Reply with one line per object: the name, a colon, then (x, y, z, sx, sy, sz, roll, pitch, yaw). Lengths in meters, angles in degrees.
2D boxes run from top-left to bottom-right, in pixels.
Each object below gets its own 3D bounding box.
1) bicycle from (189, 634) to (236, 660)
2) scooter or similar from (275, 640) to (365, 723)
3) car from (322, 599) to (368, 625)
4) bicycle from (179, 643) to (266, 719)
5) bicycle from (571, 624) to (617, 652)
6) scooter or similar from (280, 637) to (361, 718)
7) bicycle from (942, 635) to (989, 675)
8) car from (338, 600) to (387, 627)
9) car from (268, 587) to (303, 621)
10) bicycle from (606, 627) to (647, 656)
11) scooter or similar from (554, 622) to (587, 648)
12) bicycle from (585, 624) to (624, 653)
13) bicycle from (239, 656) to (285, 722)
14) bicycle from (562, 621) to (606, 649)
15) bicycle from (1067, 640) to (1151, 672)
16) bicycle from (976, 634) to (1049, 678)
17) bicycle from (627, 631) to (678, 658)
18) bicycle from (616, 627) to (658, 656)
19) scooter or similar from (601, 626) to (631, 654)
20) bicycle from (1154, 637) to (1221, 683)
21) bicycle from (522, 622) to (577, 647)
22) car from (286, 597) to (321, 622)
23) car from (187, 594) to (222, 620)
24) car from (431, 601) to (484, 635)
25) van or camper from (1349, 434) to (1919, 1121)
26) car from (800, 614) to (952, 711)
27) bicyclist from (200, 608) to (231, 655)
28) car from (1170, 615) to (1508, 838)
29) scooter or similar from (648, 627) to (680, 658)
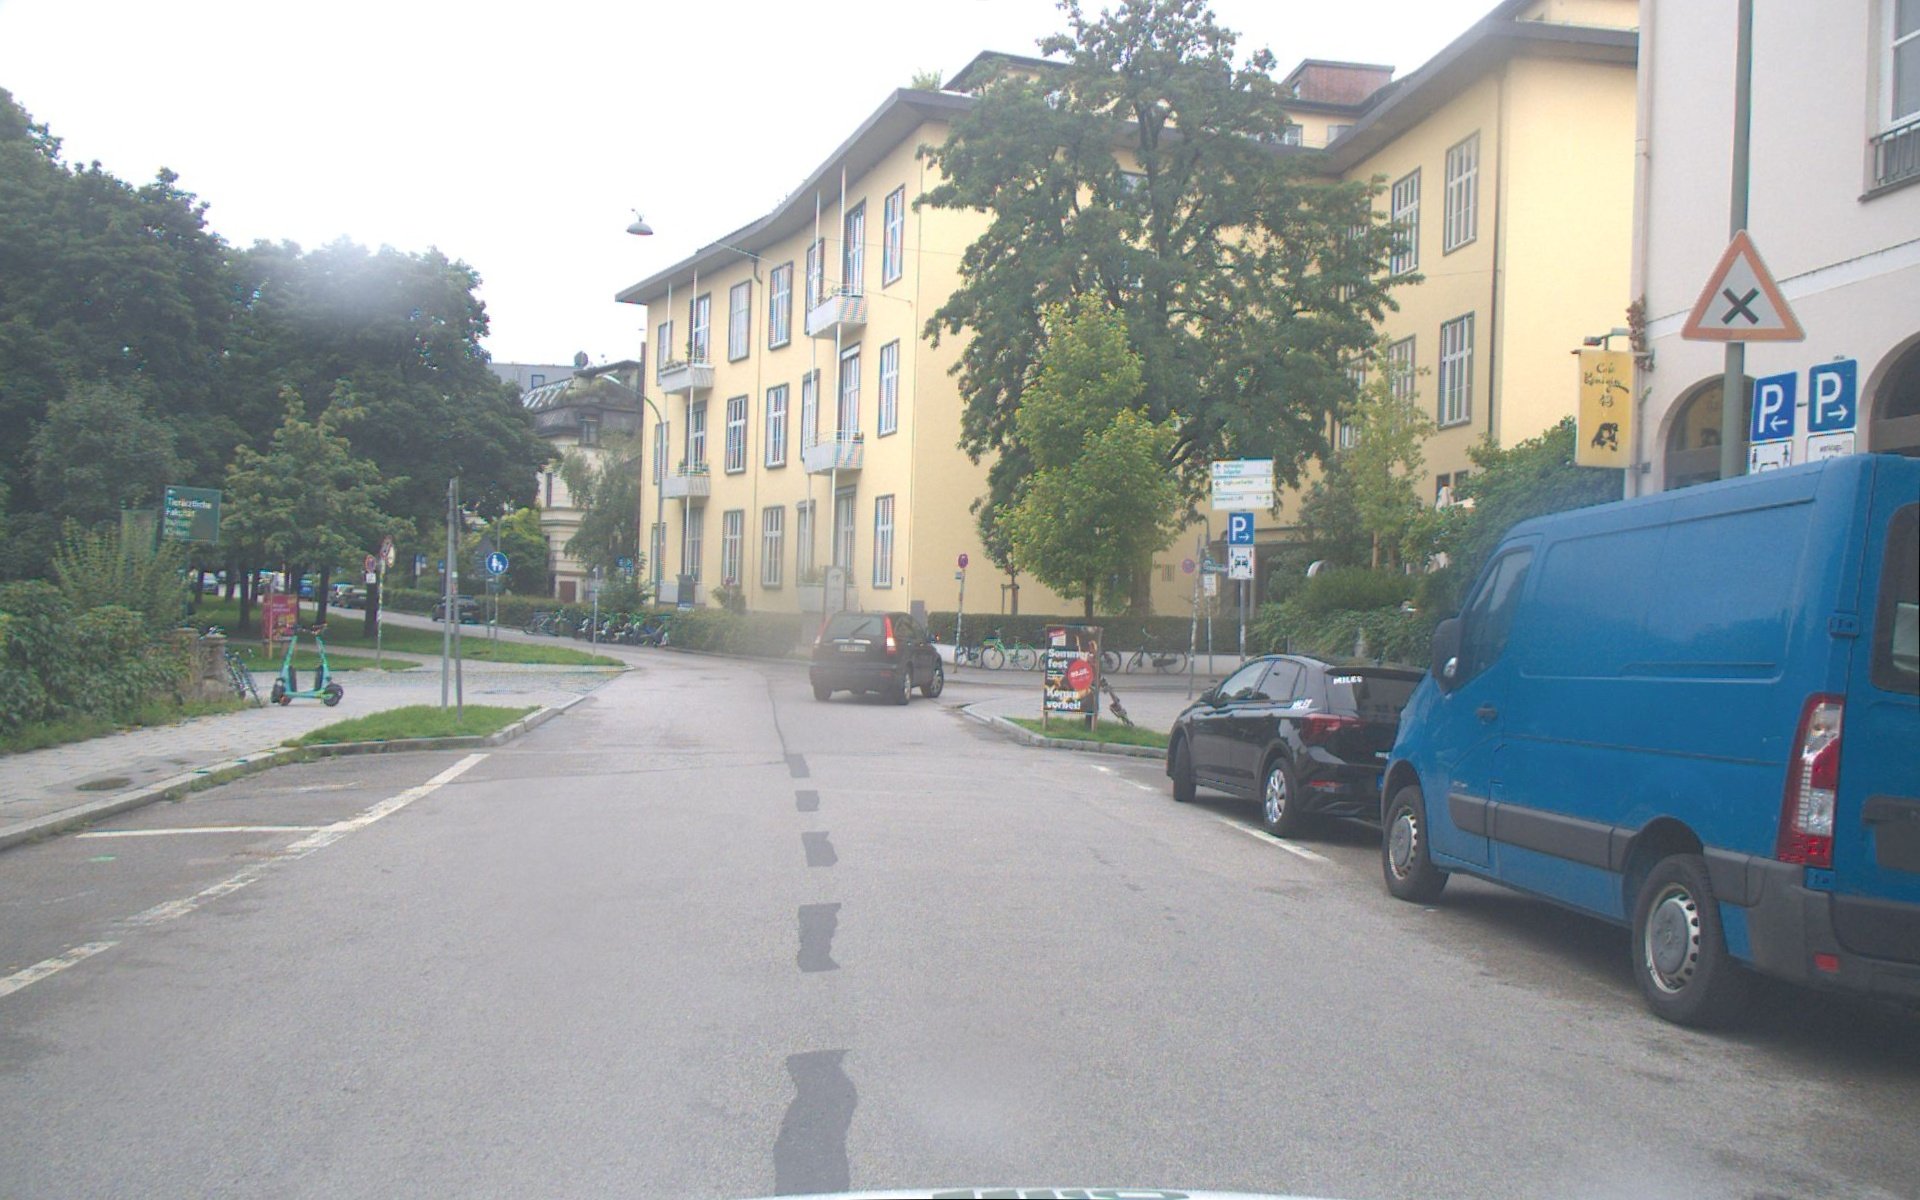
bicycle: (-24.224, 1.515, 53.600, 1.328, 0.790, 0.440, 1, -1, 5)
scooter or similar: (-9.923, 1.253, 25.666, 1.154, 1.241, 0.602, -1, -1, -3)
car: (-42.399, 0.847, 113.894, 2.154, 1.686, 4.458, 2, -1, -31)
bicycle: (-11.812, 1.279, 26.467, 1.473, 1.154, 0.651, 1, -1, 39)
bicycle: (-14.788, 1.528, 66.929, 0.681, 1.104, 2.339, 0, 0, 19)
scooter or similar: (-10.210, 1.227, 26.423, 0.437, 1.241, 1.179, -2, -1, 31)
bicycle: (0.143, 1.582, 48.103, 0.600, 1.091, 2.202, 1, 0, -22)
car: (-39.304, 0.864, 108.792, 2.154, 1.686, 4.458, 2, -1, -31)
car: (-54.746, 0.316, 134.170, 1.856, 2.613, 4.880, 2, -1, -31)
bicycle: (-13.221, 1.627, 65.624, 0.564, 1.104, 1.931, 0, 0, 26)
scooter or similar: (-17.105, 1.530, 72.581, 1.381, 1.107, 0.595, 1, 0, -13)
bicycle: (-14.228, 1.531, 66.245, 0.624, 1.104, 1.986, 0, 0, 19)
bicycle: (-10.604, 1.336, 25.108, 0.465, 0.939, 1.192, 2, -1, -30)
bicycle: (-15.602, 1.446, 68.638, 0.746, 1.104, 2.142, 0, 0, 19)
bicycle: (4.025, 1.518, 44.686, 2.163, 0.793, 0.610, 1, -1, 15)
bicycle: (1.451, 1.538, 45.968, 2.179, 1.136, 0.606, 1, -1, 43)
bicycle: (-11.710, 1.680, 62.980, 1.806, 1.023, 0.571, 1, 0, -34)
bicycle: (-12.692, 1.615, 65.104, 0.564, 1.104, 1.931, 0, 0, 26)
scooter or similar: (-13.707, 1.593, 65.943, 0.485, 1.107, 1.409, 0, 0, 22)
bicycle: (6.140, 1.620, 44.749, 1.699, 1.170, 0.610, 1, -1, -2)
bicycle: (-18.400, 1.525, 74.156, 2.313, 1.104, 0.684, 1, 0, -36)
car: (-50.101, 0.720, 126.171, 1.856, 1.847, 3.958, 2, -1, -31)
car: (-56.159, 0.501, 122.950, 1.973, 1.870, 3.959, 2, -1, -30)
car: (-26.482, 0.937, 87.077, 1.842, 1.662, 4.243, 2, -1, -28)
van or camper: (3.859, 0.708, 8.287, 2.020, 2.269, 5.433, 5, -1, -4)
car: (-1.518, 1.146, 31.787, 1.952, 1.724, 4.383, 0, -1, 10)
bicyclist: (-24.172, 1.025, 53.691, 0.614, 1.486, 0.646, 1, -1, 6)
car: (3.134, 0.983, 14.504, 1.671, 1.544, 3.954, 5, -1, -5)
scooter or similar: (-11.036, 1.595, 61.743, 0.485, 1.128, 1.409, 0, 0, 22)
